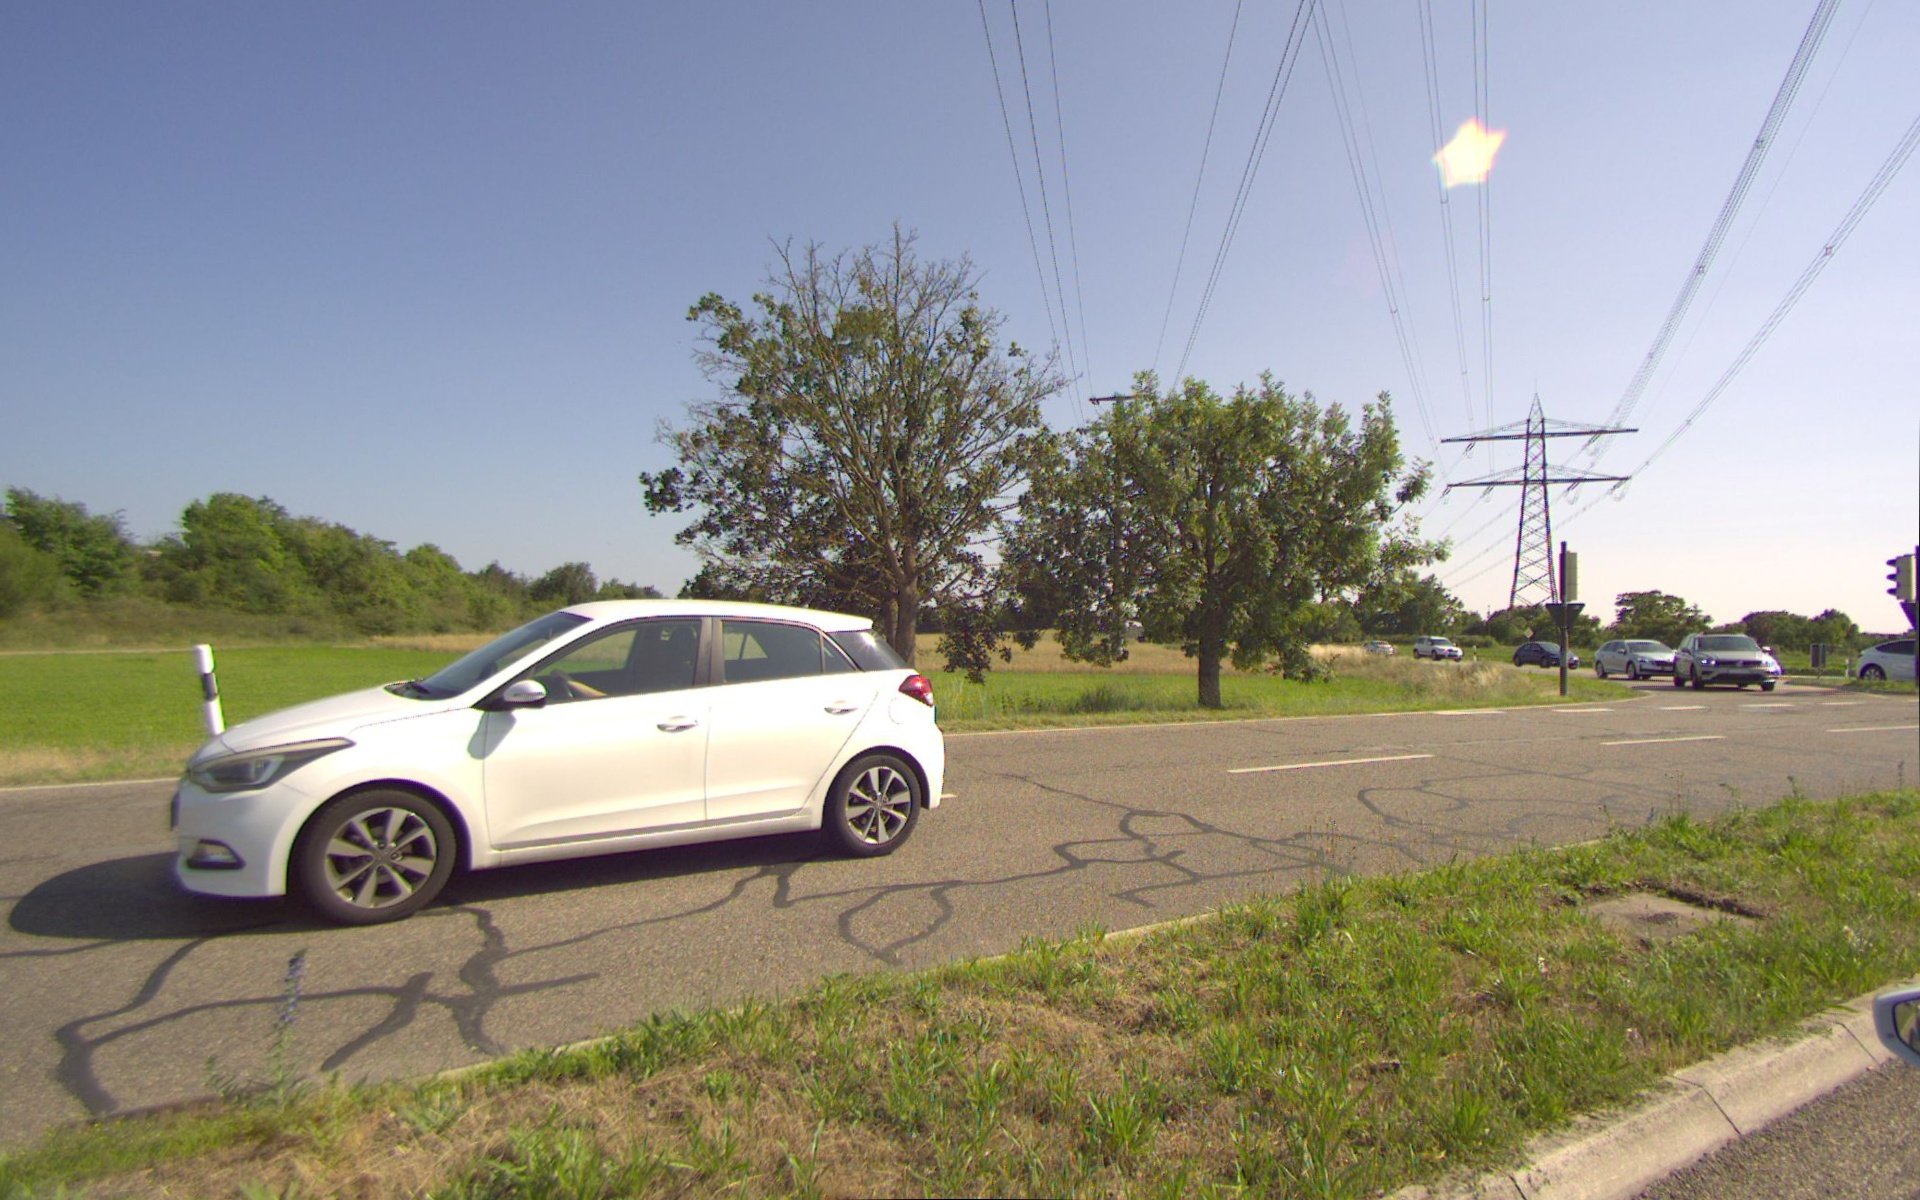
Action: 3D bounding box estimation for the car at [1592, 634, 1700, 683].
[{"bbox_3d":[25.169,2.099,37.005,1.783,1.673,4.003,1,-2,10],"label":"car"}]

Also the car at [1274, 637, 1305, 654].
[{"bbox_3d":[32.994,4.525,100.649,1.784,1.505,4.000,2,0,1],"label":"car"}]

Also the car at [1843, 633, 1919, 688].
[{"bbox_3d":[30.610,1.917,31.394,1.785,1.673,4.761,1,-1,-2],"label":"car"}]

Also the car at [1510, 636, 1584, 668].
[{"bbox_3d":[33.074,2.901,56.736,1.785,1.673,4.000,1,-1,-2],"label":"car"}]

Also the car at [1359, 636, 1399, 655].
[{"bbox_3d":[37.630,4.084,90.368,1.773,1.539,3.879,1,-2,-4],"label":"car"}]

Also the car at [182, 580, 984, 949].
[{"bbox_3d":[-1.938,0.717,5.822,3.870,1.484,1.708,2,-1,-33],"label":"car"}]

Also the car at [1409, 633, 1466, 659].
[{"bbox_3d":[32.536,3.115,68.574,1.785,1.505,3.998,2,0,-3],"label":"car"}]

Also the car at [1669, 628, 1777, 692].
[{"bbox_3d":[22.121,1.695,29.284,1.786,1.673,3.996,0,-2,27],"label":"car"}]

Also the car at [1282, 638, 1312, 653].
[{"bbox_3d":[36.967,4.948,110.371,1.773,1.539,3.879,1,-2,-4],"label":"car"}]

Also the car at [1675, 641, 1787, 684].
[{"bbox_3d":[33.618,2.687,43.936,1.785,1.673,4.000,1,-1,-2],"label":"car"}]
